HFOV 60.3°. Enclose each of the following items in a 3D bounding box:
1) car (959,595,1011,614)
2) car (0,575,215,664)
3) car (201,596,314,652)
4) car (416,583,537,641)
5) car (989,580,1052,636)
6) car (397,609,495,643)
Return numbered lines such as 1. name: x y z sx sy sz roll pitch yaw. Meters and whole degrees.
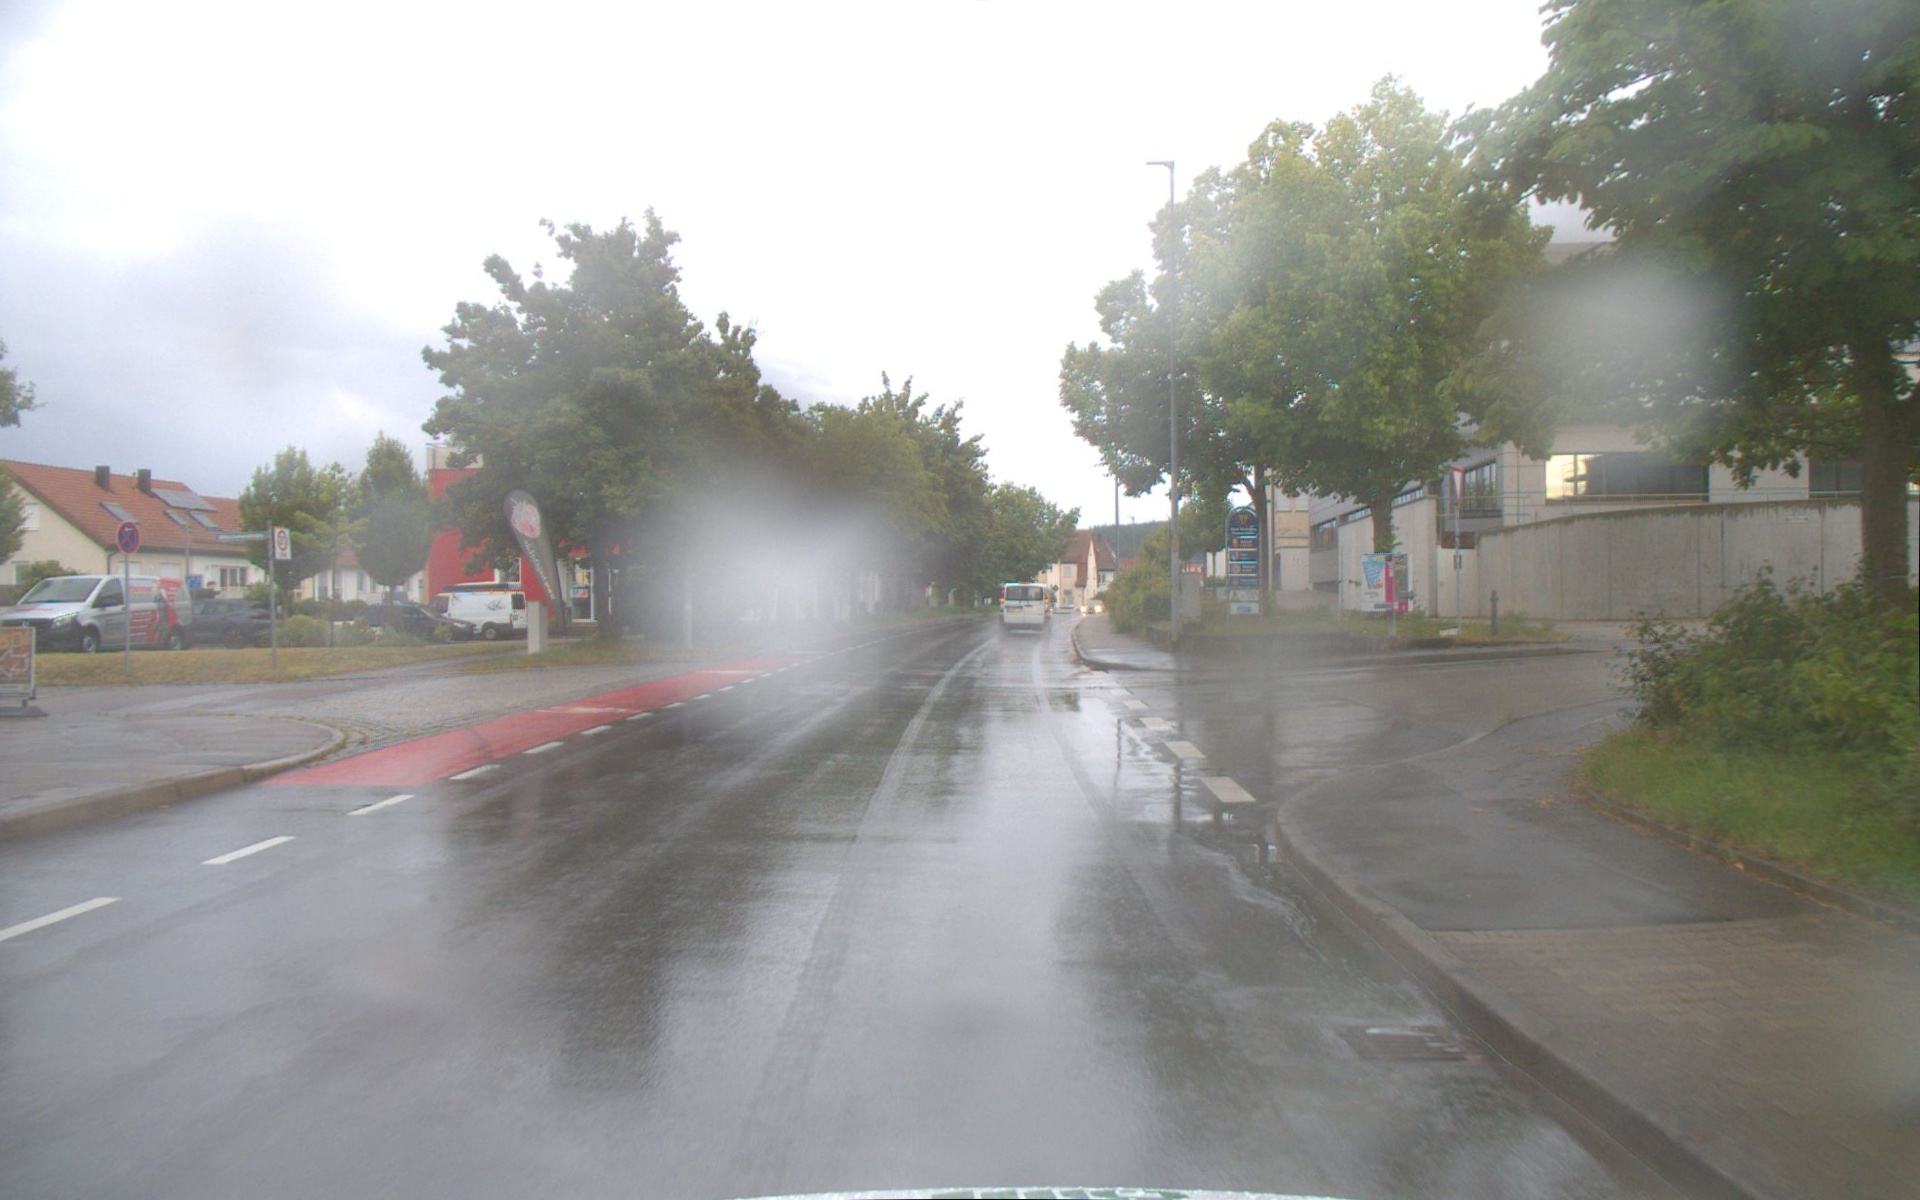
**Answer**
1. car: 1.948 0.329 128.088 3.817 1.306 1.583 -2 -1 7
2. car: -19.320 0.361 37.348 1.990 1.854 5.613 1 1 6
3. car: -21.350 0.694 50.465 2.074 1.583 4.161 0 1 -7
4. car: -20.391 0.469 69.803 4.382 2.351 2.186 1 1 7
5. car: 2.187 0.259 60.765 2.074 1.921 4.501 0 1 -1
6. car: -20.203 1.011 65.083 3.330 1.266 1.705 0 1 0
